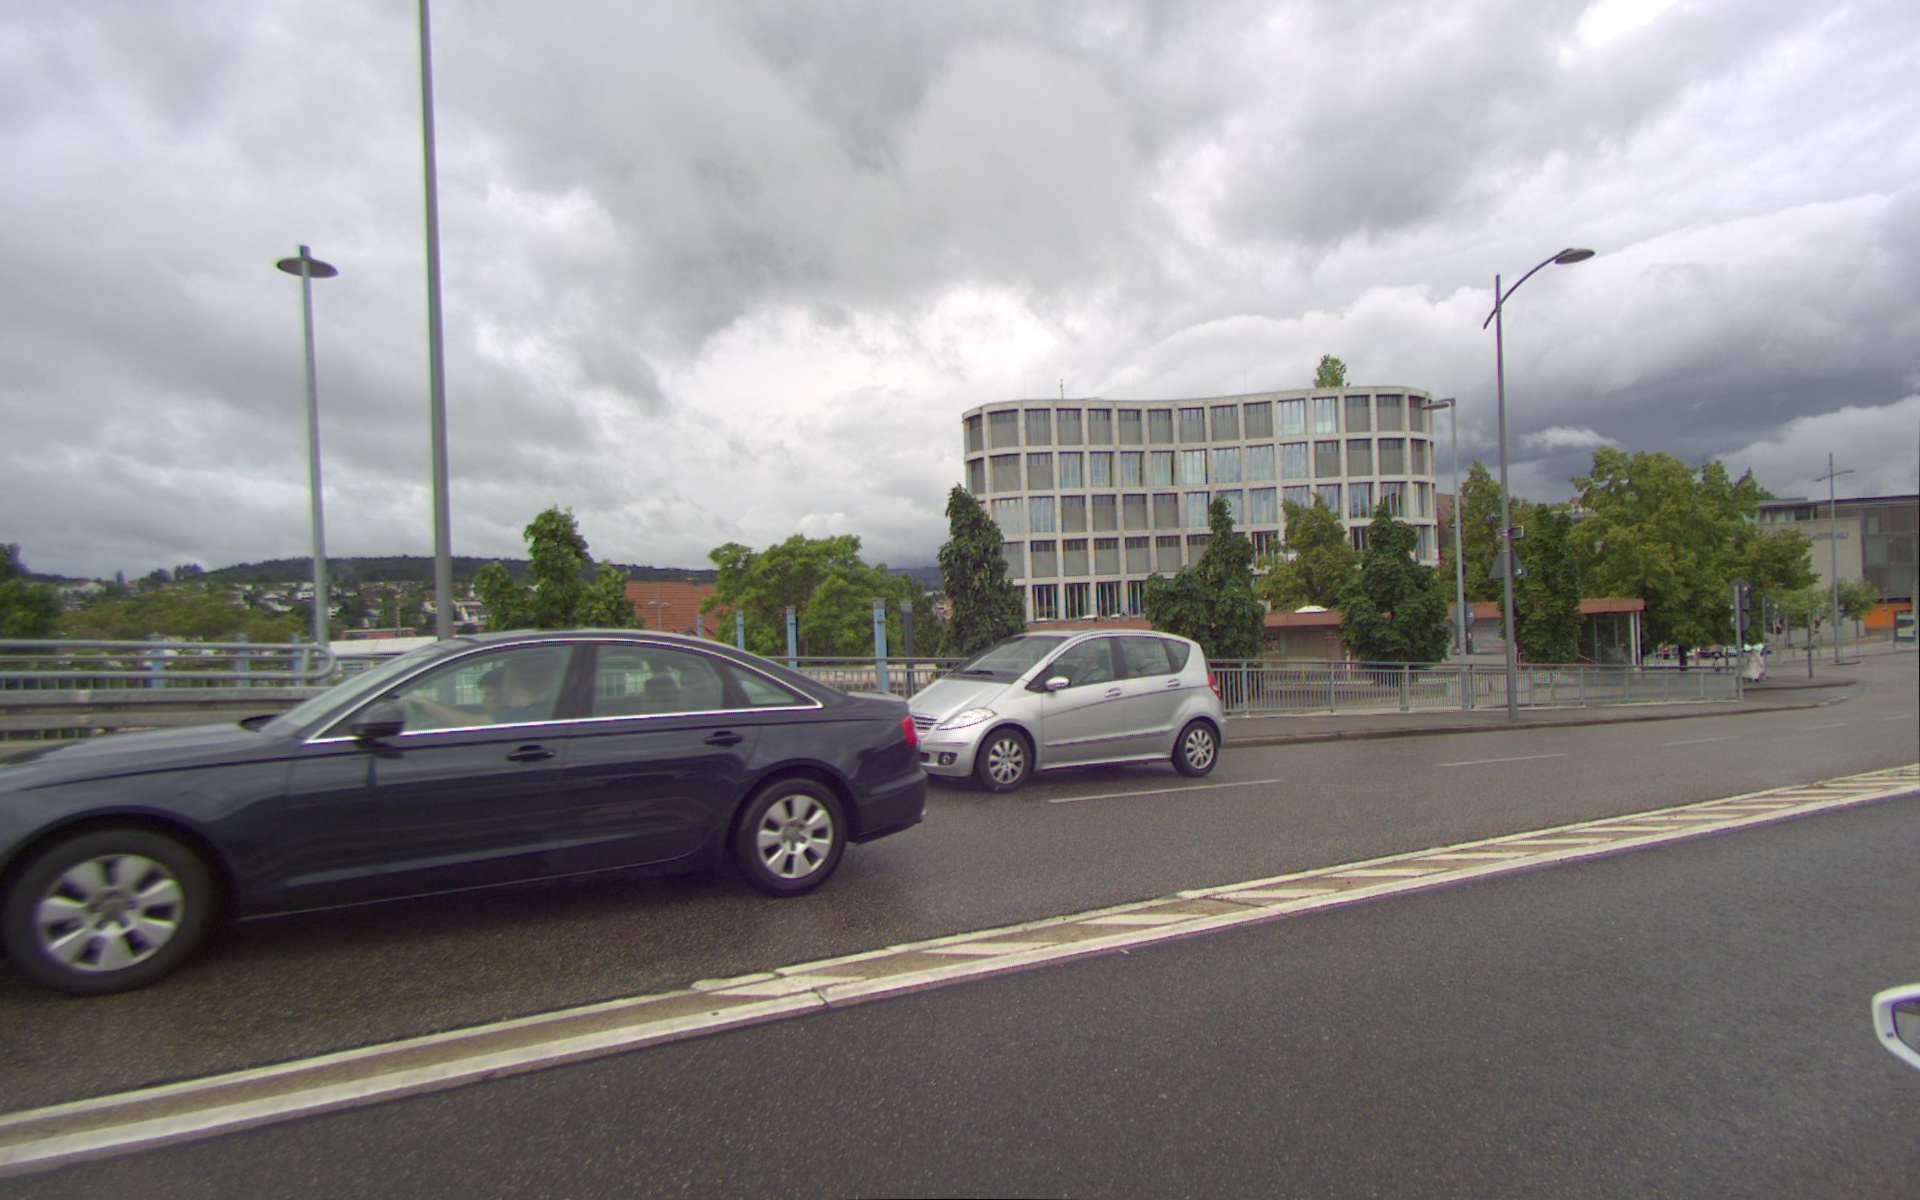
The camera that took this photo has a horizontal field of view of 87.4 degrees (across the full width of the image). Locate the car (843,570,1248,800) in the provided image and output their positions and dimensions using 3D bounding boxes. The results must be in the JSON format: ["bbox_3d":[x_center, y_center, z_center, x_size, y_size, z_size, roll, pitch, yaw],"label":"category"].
[{"bbox_3d":[0.941,0.828,10.821,3.953,2.040,1.984,1,-3,-31],"label":"car"}]

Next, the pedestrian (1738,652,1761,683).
[{"bbox_3d":[37.205,3.155,47.327,0.524,1.427,0.646,-1,-1,-27],"label":"pedestrian"}]

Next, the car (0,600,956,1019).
[{"bbox_3d":[-2.419,0.847,5.511,4.543,1.546,1.823,2,-3,-32],"label":"car"}]

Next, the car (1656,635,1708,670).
[{"bbox_3d":[50.121,3.595,69.821,1.962,2.041,3.997,3,3,23],"label":"car"}]

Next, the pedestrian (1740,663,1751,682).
[{"bbox_3d":[37.099,3.431,47.424,0.294,0.885,0.300,-1,-1,-27],"label":"pedestrian"}]

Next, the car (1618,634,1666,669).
[{"bbox_3d":[47.811,3.609,70.479,1.962,2.041,3.997,3,3,23],"label":"car"}]
